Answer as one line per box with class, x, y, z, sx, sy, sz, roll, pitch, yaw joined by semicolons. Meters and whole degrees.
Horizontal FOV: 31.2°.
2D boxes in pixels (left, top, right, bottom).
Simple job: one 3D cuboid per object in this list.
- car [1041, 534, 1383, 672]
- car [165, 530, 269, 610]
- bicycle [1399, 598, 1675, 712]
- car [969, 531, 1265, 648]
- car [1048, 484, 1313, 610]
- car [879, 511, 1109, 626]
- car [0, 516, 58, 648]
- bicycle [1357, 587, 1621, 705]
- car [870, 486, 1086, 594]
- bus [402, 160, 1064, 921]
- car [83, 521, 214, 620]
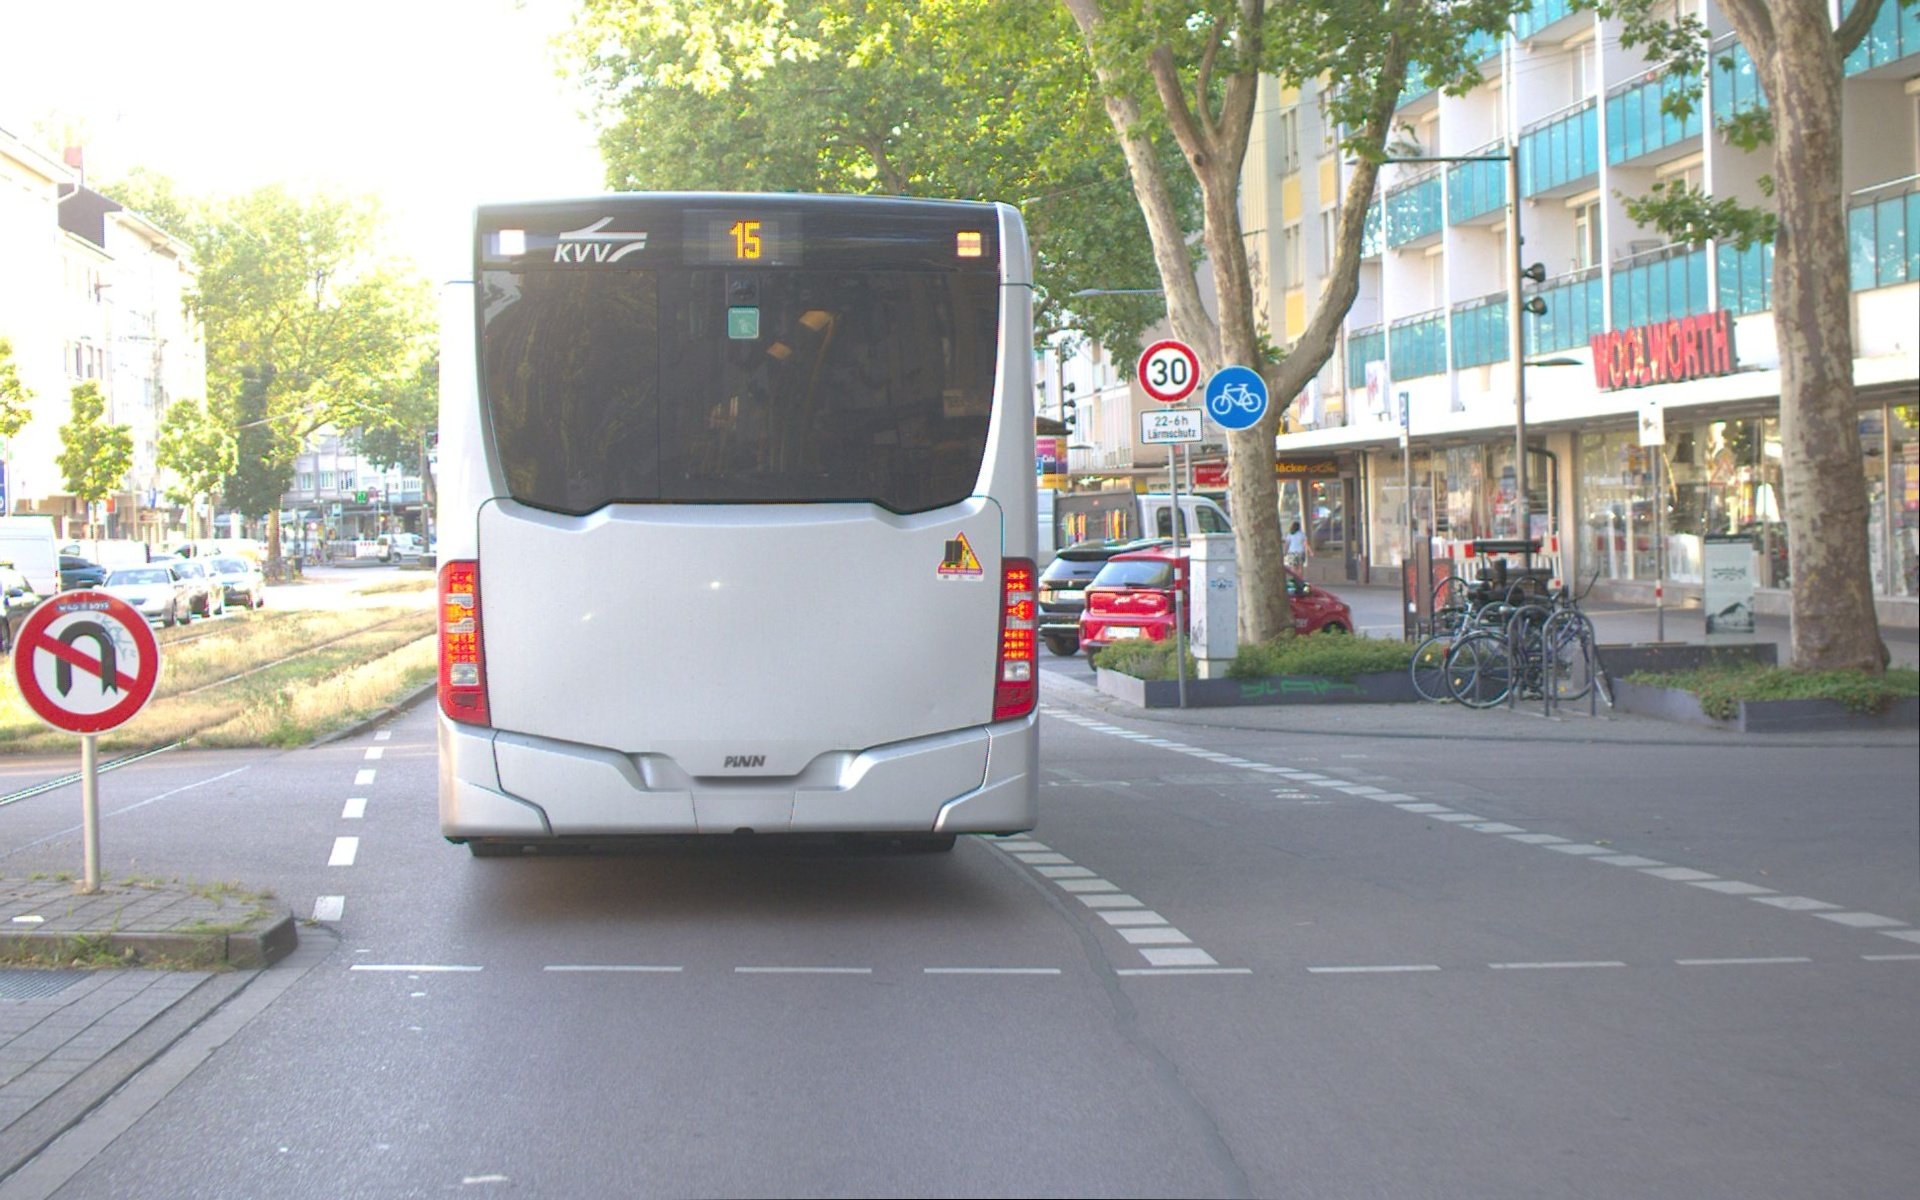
car;3.045;0.012;40.976;1.998;1.525;3.990;-1;1;43
car;-19.509;-0.790;90.392;1.993;2.007;4.000;-1;1;-2
bicycle;5.224;0.492;31.187;2.309;0.936;0.837;-1;2;-7
car;2.224;-0.160;47.929;1.998;1.525;3.990;-1;1;43
car;3.609;-0.871;55.874;3.988;1.963;1.999;-2;1;-40
car;0.638;-0.574;60.770;1.998;1.963;3.991;-1;1;39
car;-15.684;-0.277;54.199;1.993;2.007;4.000;-1;1;-2
bicycle;4.990;0.426;32.467;2.309;1.025;0.837;-1;2;-7
car;0.374;-1.142;64.929;1.998;1.963;3.991;-1;1;39
bus;-1.123;-0.300;17.516;2.677;3.073;7.115;0;1;-3
car;-17.316;-0.635;73.524;1.993;2.007;4.000;-1;1;-2
